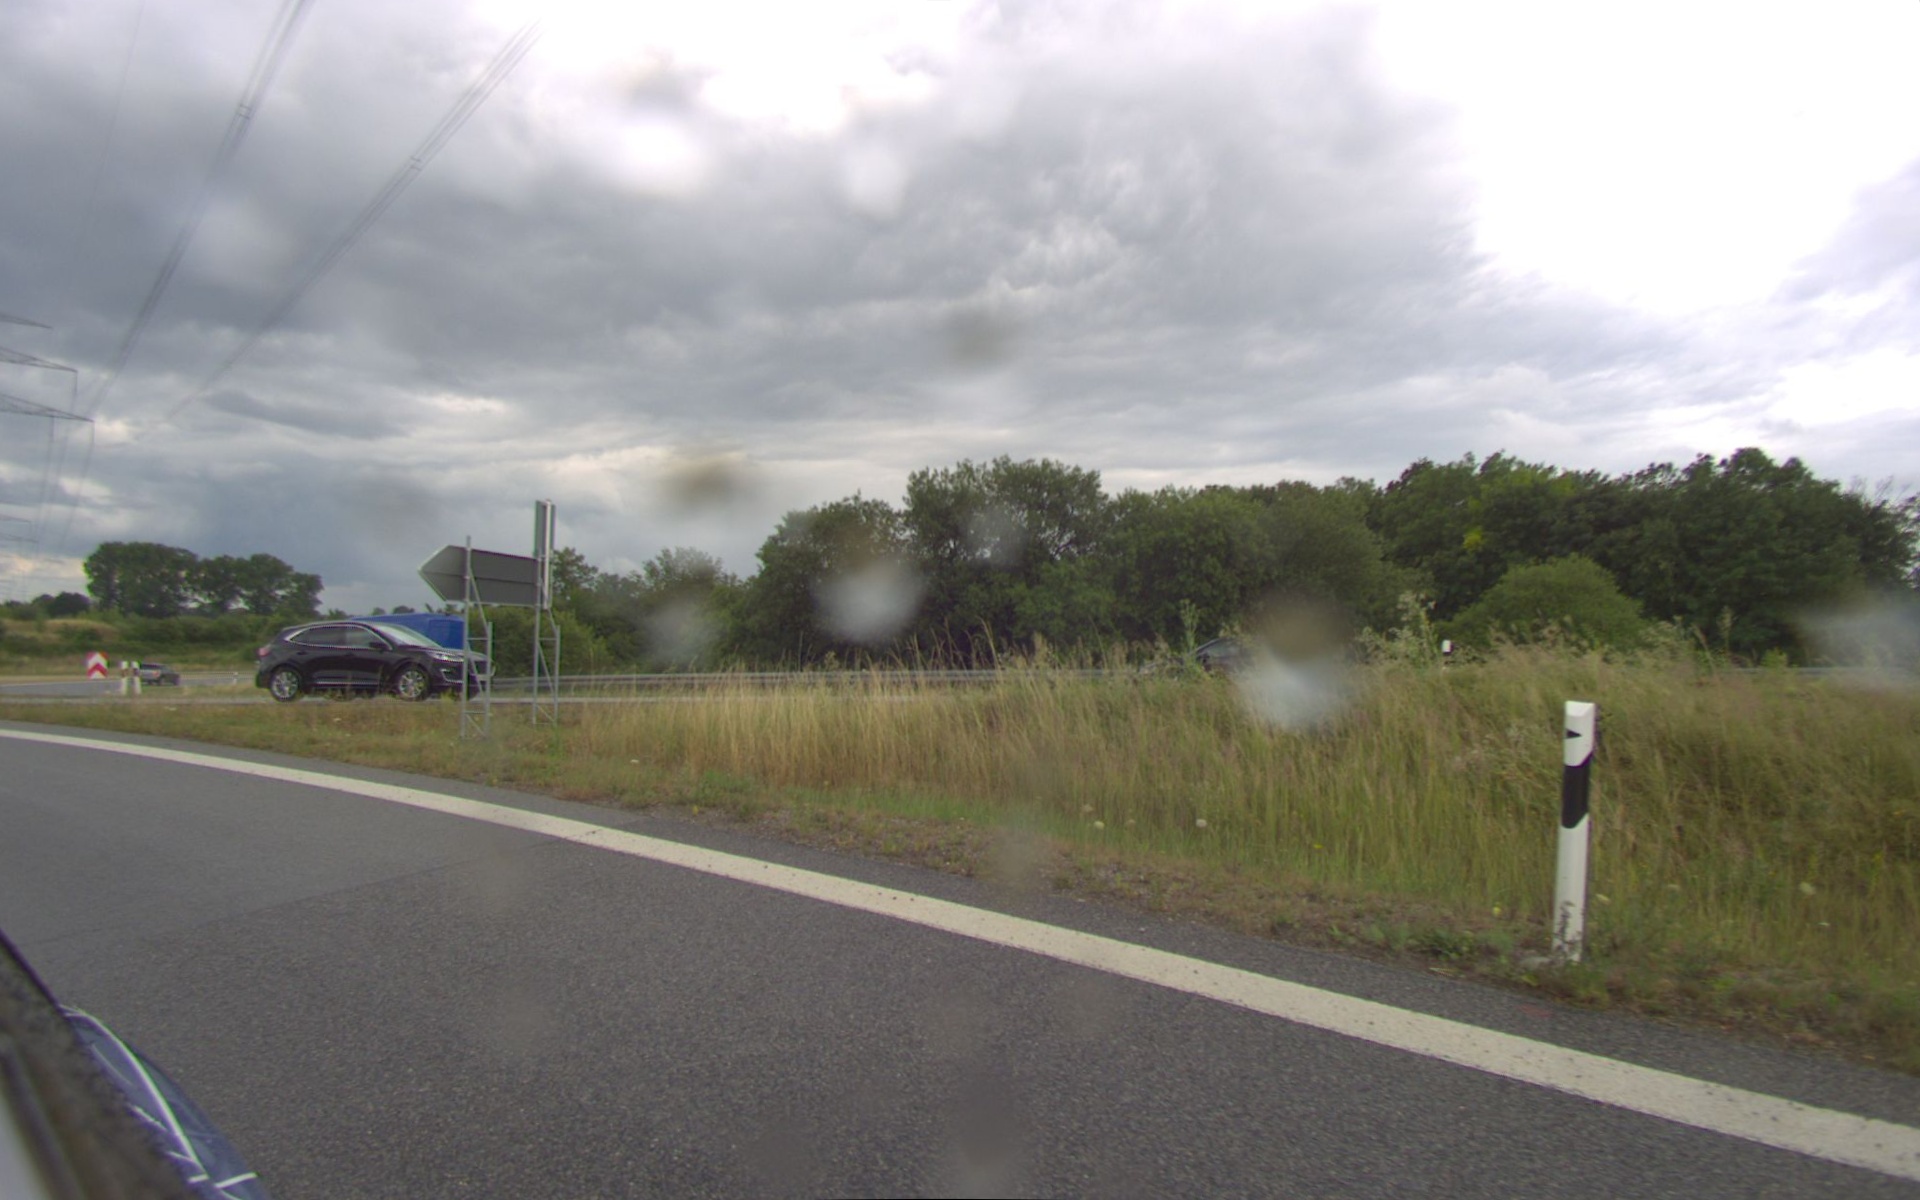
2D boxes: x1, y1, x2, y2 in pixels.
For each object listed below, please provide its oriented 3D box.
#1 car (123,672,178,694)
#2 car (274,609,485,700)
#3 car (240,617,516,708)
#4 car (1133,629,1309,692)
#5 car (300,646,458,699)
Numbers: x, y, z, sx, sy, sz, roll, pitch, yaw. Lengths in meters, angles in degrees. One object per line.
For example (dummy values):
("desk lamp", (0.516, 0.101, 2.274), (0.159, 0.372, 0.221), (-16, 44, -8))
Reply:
("car", (-54.423, 5.572, 68.117), (1.711, 1.449, 3.784), (3, -5, -21))
("car", (-18.809, 1.759, 32.843), (6.231, 2.747, 2.320), (-1, -3, 18))
("car", (-11.769, 1.261, 20.649), (4.537, 1.733, 1.997), (0, -3, 6))
("car", (5.892, 1.369, 23.152), (3.667, 1.360, 1.478), (-1, -1, 5))
("car", (-14.266, 1.770, 24.938), (3.092, 1.185, 1.435), (0, -1, 2))
